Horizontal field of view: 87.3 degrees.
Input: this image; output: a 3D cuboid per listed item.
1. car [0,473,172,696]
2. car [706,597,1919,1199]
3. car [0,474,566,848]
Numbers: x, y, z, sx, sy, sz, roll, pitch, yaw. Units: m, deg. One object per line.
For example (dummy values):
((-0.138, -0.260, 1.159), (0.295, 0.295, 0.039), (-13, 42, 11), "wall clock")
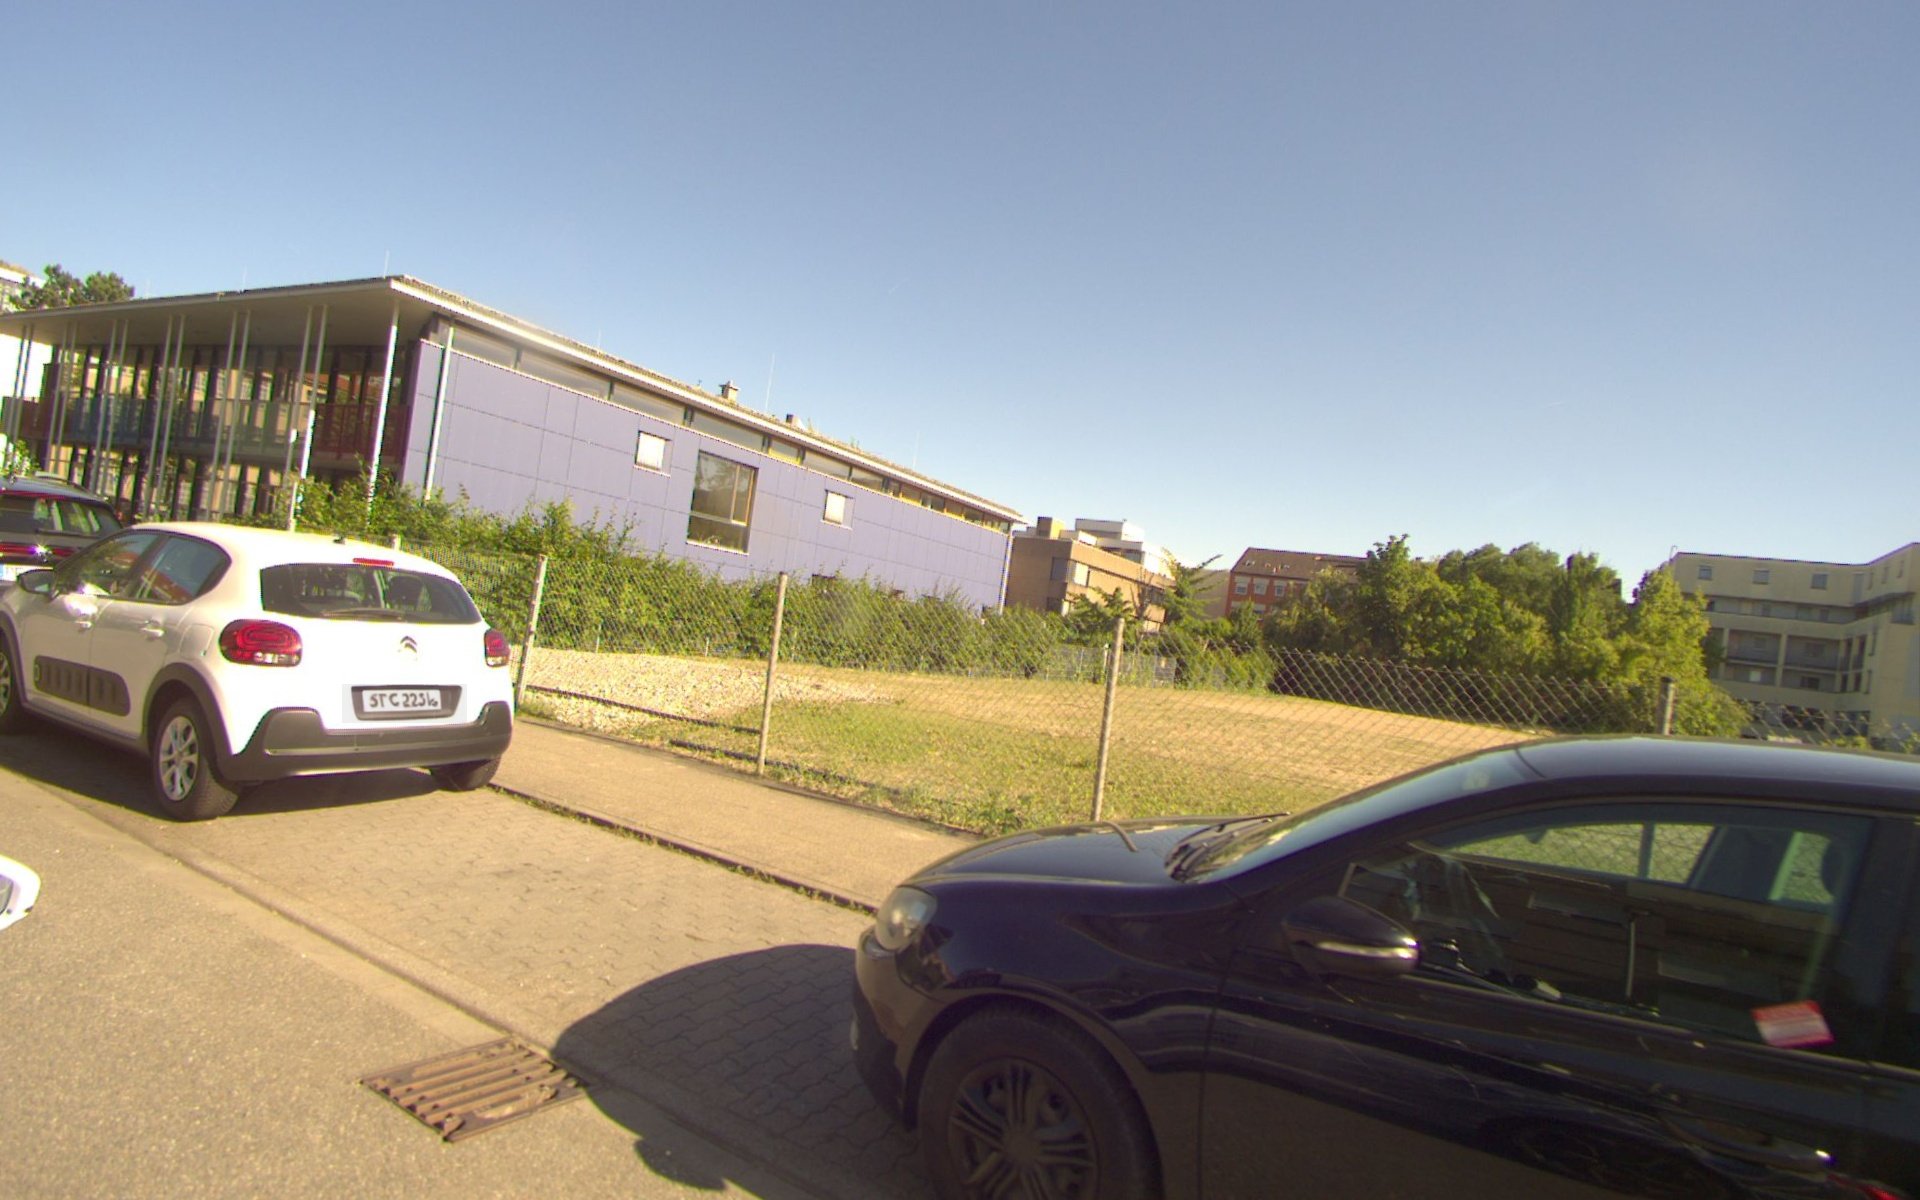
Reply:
((-8.951, -0.324, 8.774), (4.253, 1.673, 1.728), (7, 1, 30), "car")
((1.524, 1.007, 2.481), (4.009, 1.512, 1.691), (6, -2, 30), "car")
((-4.536, 0.234, 6.379), (3.784, 1.560, 1.683), (8, -1, 31), "car")
